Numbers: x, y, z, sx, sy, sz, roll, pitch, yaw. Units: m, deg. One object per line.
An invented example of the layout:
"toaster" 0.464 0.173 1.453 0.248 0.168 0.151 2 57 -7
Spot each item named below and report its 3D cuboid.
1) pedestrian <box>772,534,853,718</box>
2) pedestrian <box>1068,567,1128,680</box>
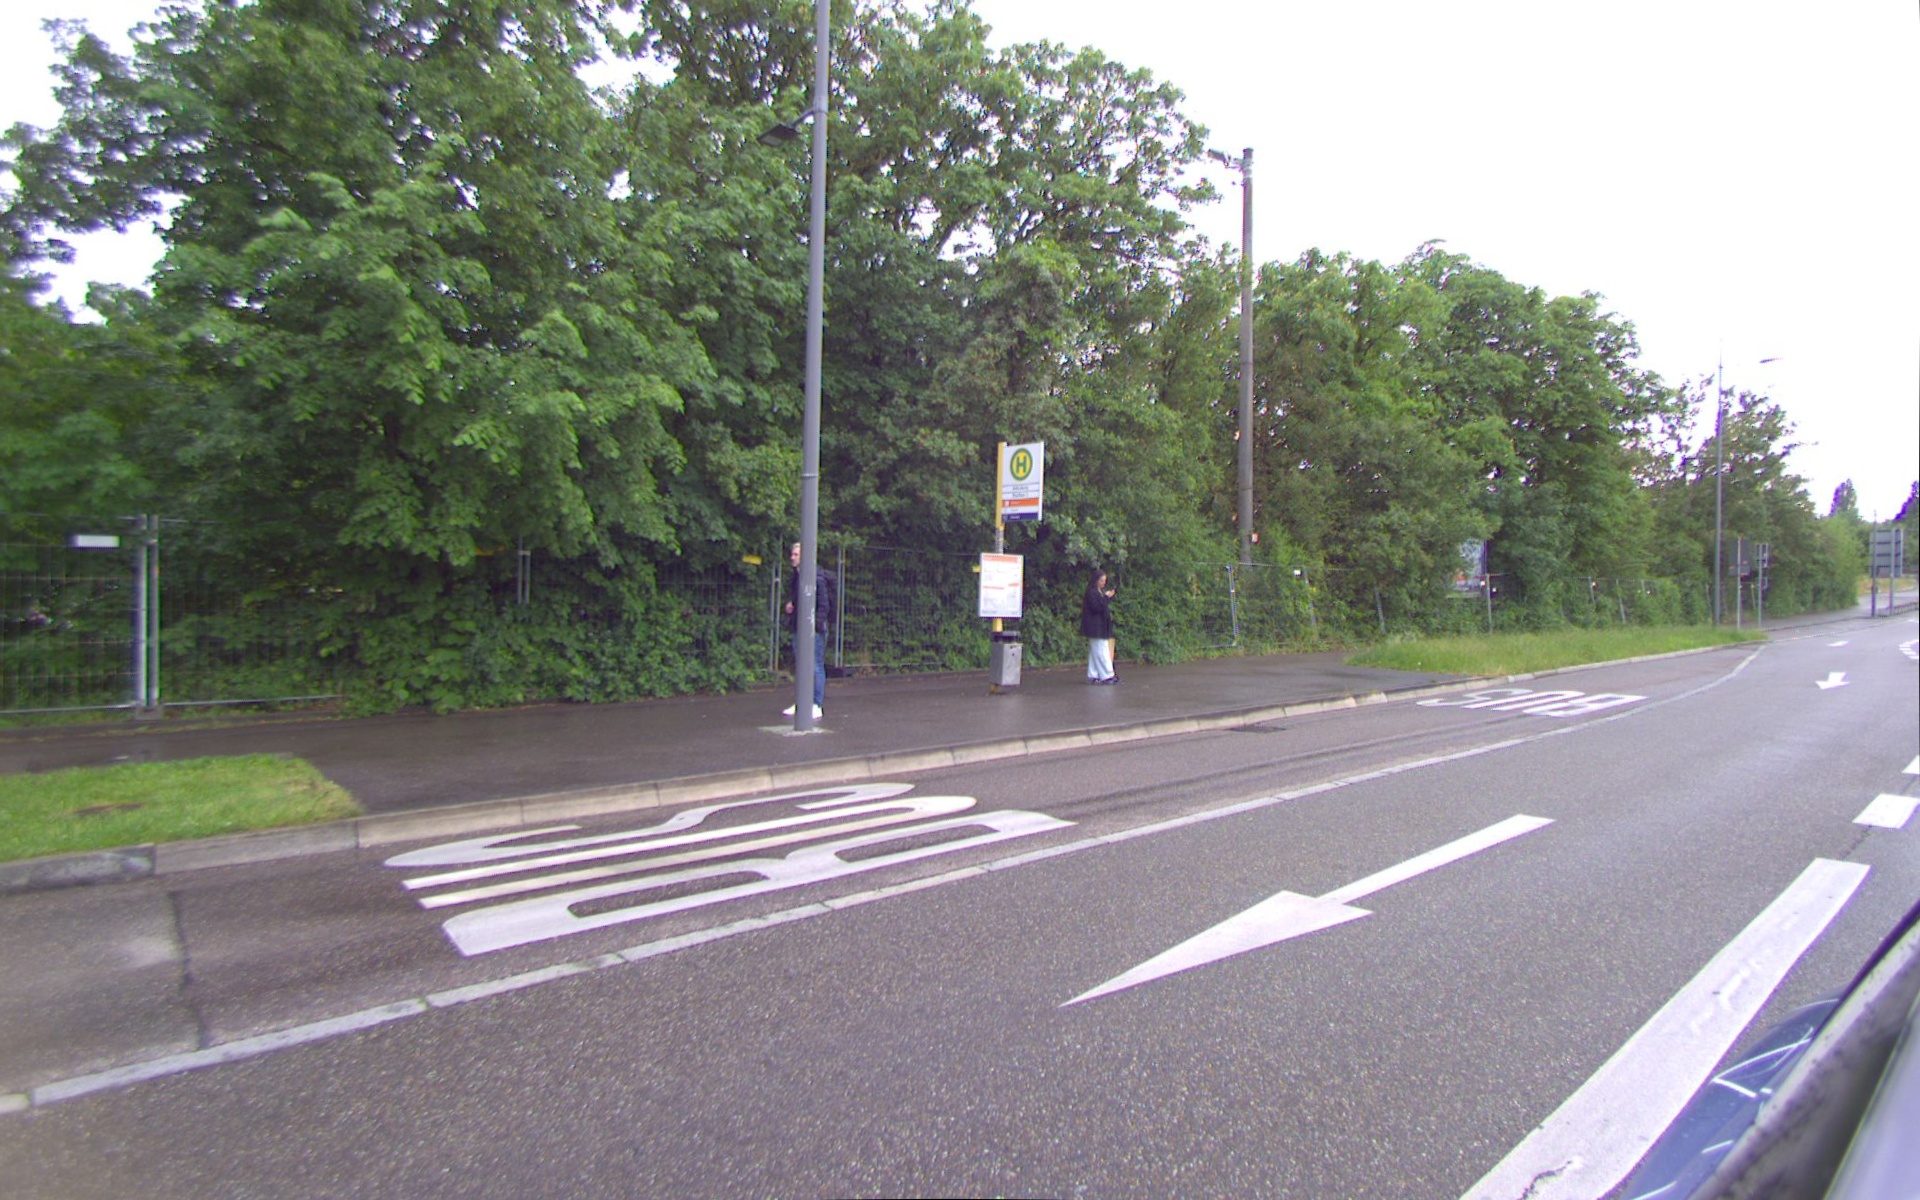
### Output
"pedestrian" -1.657 0.270 11.346 0.587 1.973 0.742 0 1 -40
"pedestrian" 2.073 0.335 15.225 0.650 1.648 0.588 0 1 -40
